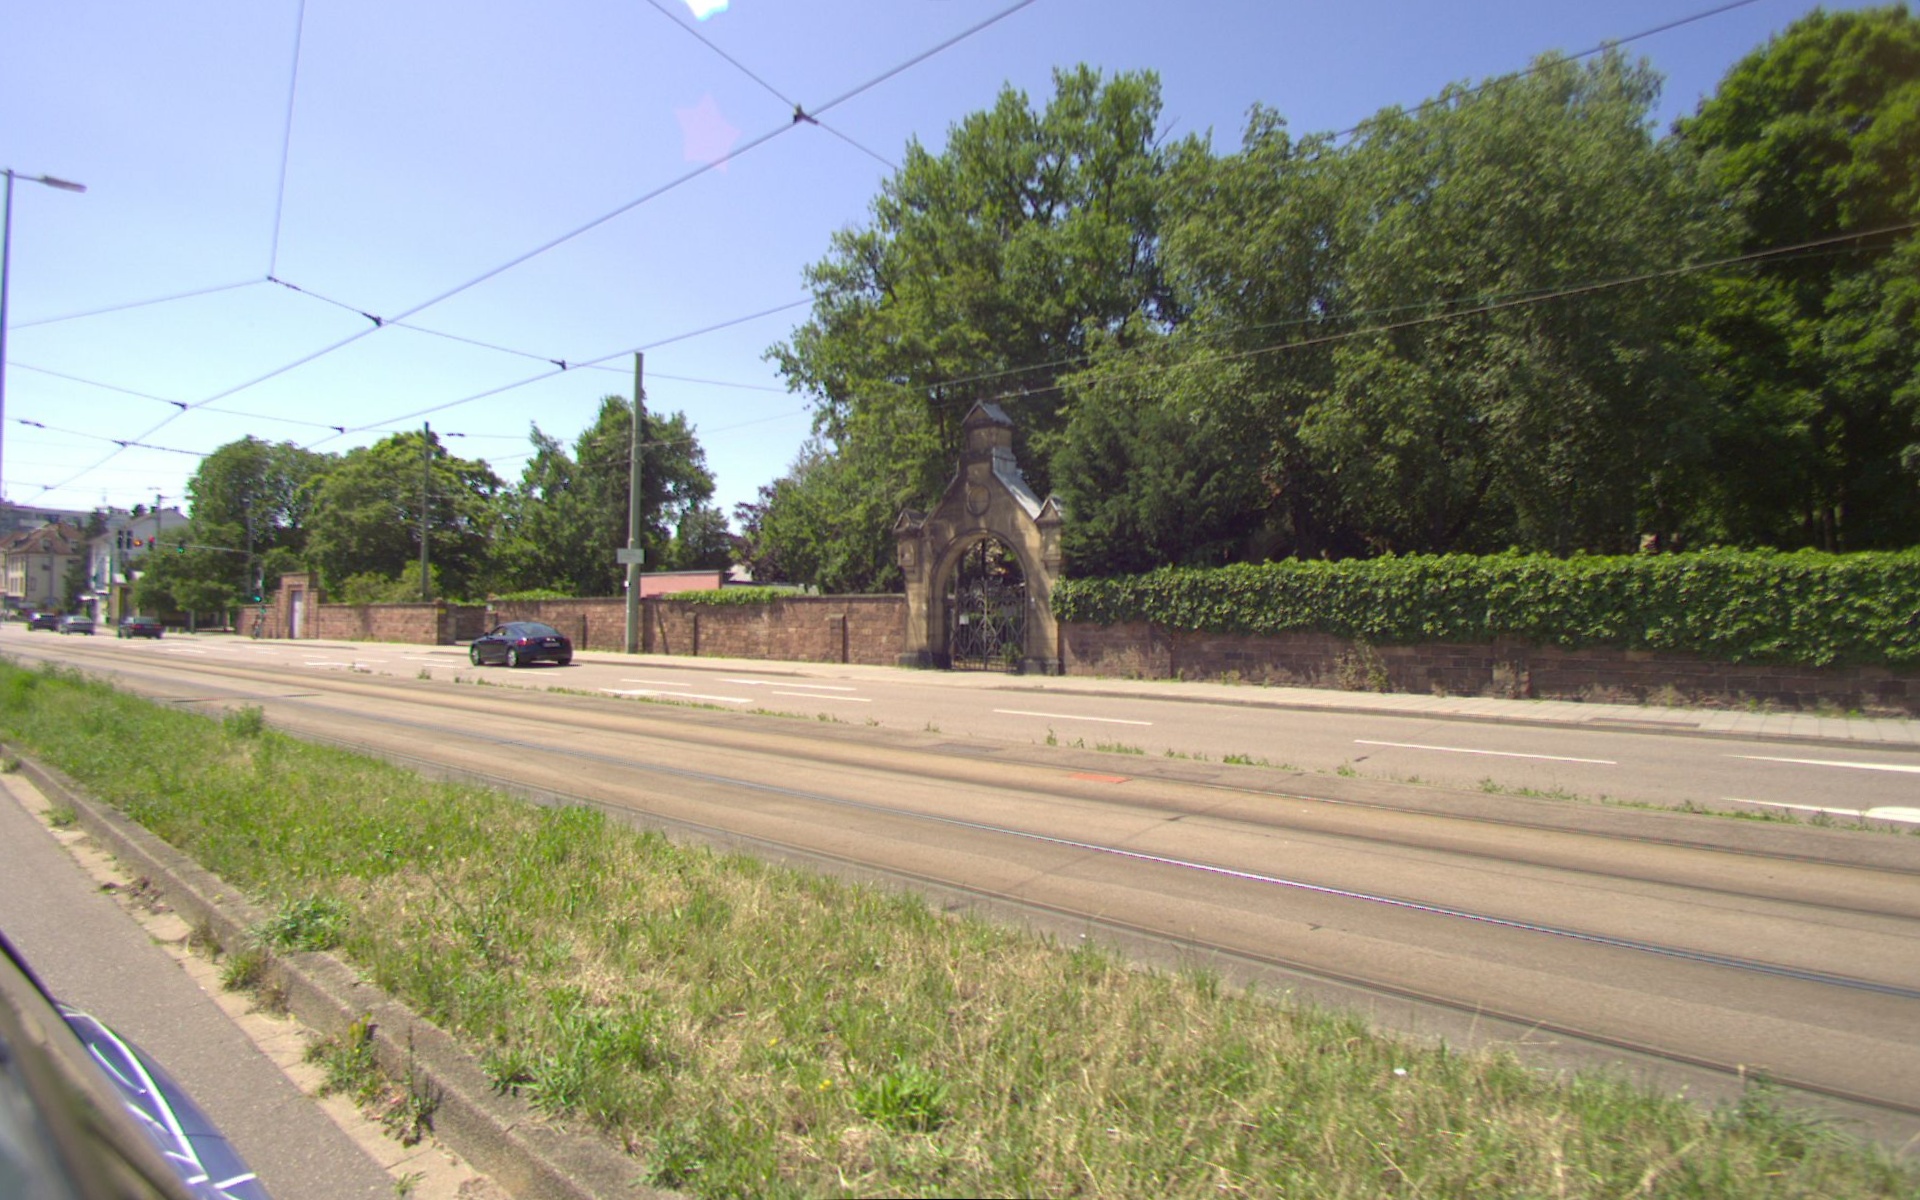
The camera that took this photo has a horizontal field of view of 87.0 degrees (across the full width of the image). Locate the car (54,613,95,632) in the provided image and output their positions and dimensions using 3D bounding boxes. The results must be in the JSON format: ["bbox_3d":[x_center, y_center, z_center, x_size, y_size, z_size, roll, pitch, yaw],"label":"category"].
[{"bbox_3d":[-69.820,1.764,79.752,4.708,1.427,1.822,-1,1,41],"label":"car"}]

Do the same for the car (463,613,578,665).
[{"bbox_3d":[-13.639,1.168,31.326,4.122,1.459,1.737,-1,0,43],"label":"car"}]

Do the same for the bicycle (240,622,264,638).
[{"bbox_3d":[-43.645,1.860,62.384,2.112,0.964,0.646,-1,-1,39],"label":"bicycle"}]

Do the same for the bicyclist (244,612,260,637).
[{"bbox_3d":[-43.662,1.496,62.414,0.662,1.508,0.646,-1,-1,39],"label":"bicyclist"}]

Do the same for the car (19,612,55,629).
[{"bbox_3d":[-83.590,1.845,91.641,4.462,1.567,1.822,-1,-2,40],"label":"car"}]

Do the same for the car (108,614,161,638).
[{"bbox_3d":[-53.305,1.674,65.327,5.031,1.427,1.822,-1,1,41],"label":"car"}]
